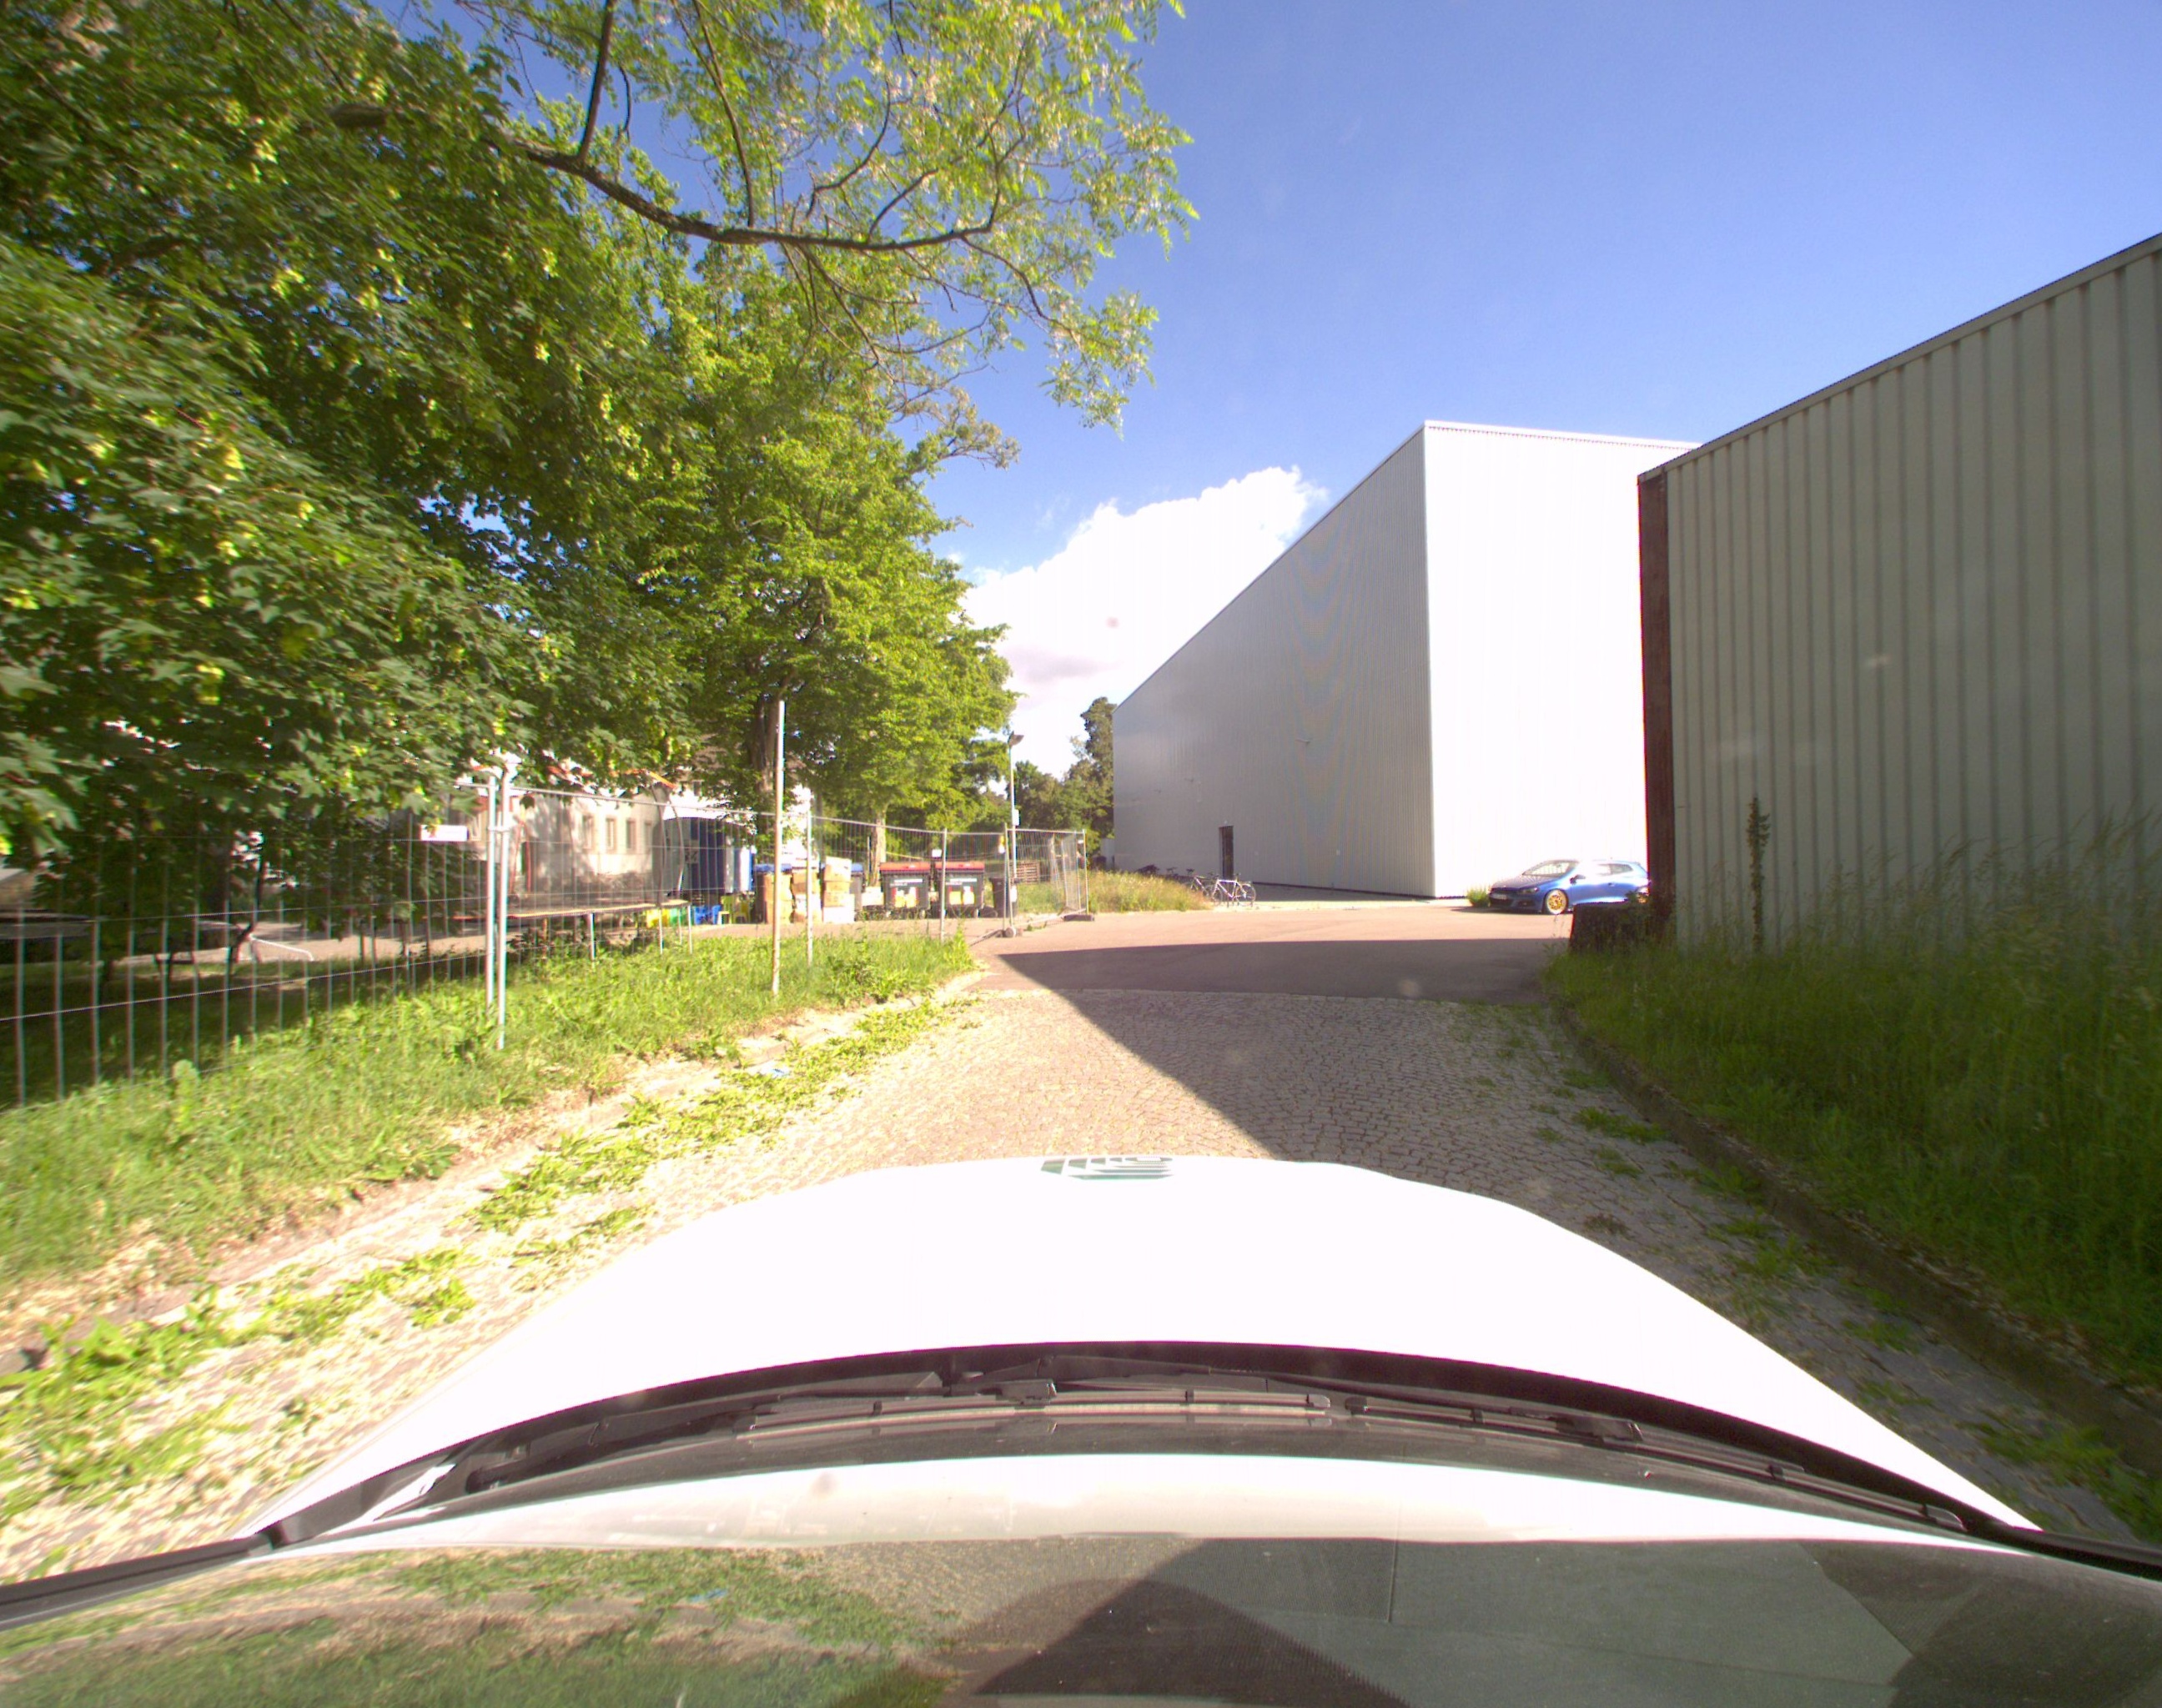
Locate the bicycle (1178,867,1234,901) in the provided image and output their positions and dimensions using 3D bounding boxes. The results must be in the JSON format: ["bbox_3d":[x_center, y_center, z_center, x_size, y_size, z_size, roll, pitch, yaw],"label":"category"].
[{"bbox_3d":[4.180,0.996,27.299,1.791,1.082,0.523,-1,0,-8],"label":"bicycle"}]

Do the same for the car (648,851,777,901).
[{"bbox_3d":[-15.901,0.921,35.406,4.716,1.902,1.990,-2,-1,-14],"label":"car"}]

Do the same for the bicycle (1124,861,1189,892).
[{"bbox_3d":[3.260,0.962,35.412,2.626,1.266,1.139,-1,0,-5],"label":"bicycle"}]

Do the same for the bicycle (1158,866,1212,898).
[{"bbox_3d":[3.808,1.014,29.818,1.888,1.095,0.524,-1,-1,-11],"label":"bicycle"}]

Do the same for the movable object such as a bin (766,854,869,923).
[{"bbox_3d":[-6.325,0.804,19.742,2.292,1.591,1.168,-1,0,-15],"label":"movable object such as a bin"}]

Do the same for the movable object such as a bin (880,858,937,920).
[{"bbox_3d":[-4.331,0.851,20.388,1.340,1.484,0.802,-1,-1,-16],"label":"movable object such as a bin"}]

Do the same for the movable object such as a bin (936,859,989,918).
[{"bbox_3d":[-3.017,0.858,20.655,1.247,1.444,0.699,-1,-1,-15],"label":"movable object such as a bin"}]

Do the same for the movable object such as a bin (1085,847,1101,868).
[{"bbox_3d":[1.195,0.350,81.586,1.416,2.014,1.123,-1,0,-5],"label":"movable object such as a bin"}]

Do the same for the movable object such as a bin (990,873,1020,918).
[{"bbox_3d":[-1.924,1.044,20.704,0.735,1.097,0.817,-1,0,-6],"label":"movable object such as a bin"}]

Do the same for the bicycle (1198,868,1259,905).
[{"bbox_3d":[4.483,0.972,24.751,1.802,1.062,0.457,-1,0,-15],"label":"bicycle"}]

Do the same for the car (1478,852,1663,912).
[{"bbox_3d":[12.365,0.674,20.644,3.942,1.350,1.668,-1,1,-11],"label":"car"}]
